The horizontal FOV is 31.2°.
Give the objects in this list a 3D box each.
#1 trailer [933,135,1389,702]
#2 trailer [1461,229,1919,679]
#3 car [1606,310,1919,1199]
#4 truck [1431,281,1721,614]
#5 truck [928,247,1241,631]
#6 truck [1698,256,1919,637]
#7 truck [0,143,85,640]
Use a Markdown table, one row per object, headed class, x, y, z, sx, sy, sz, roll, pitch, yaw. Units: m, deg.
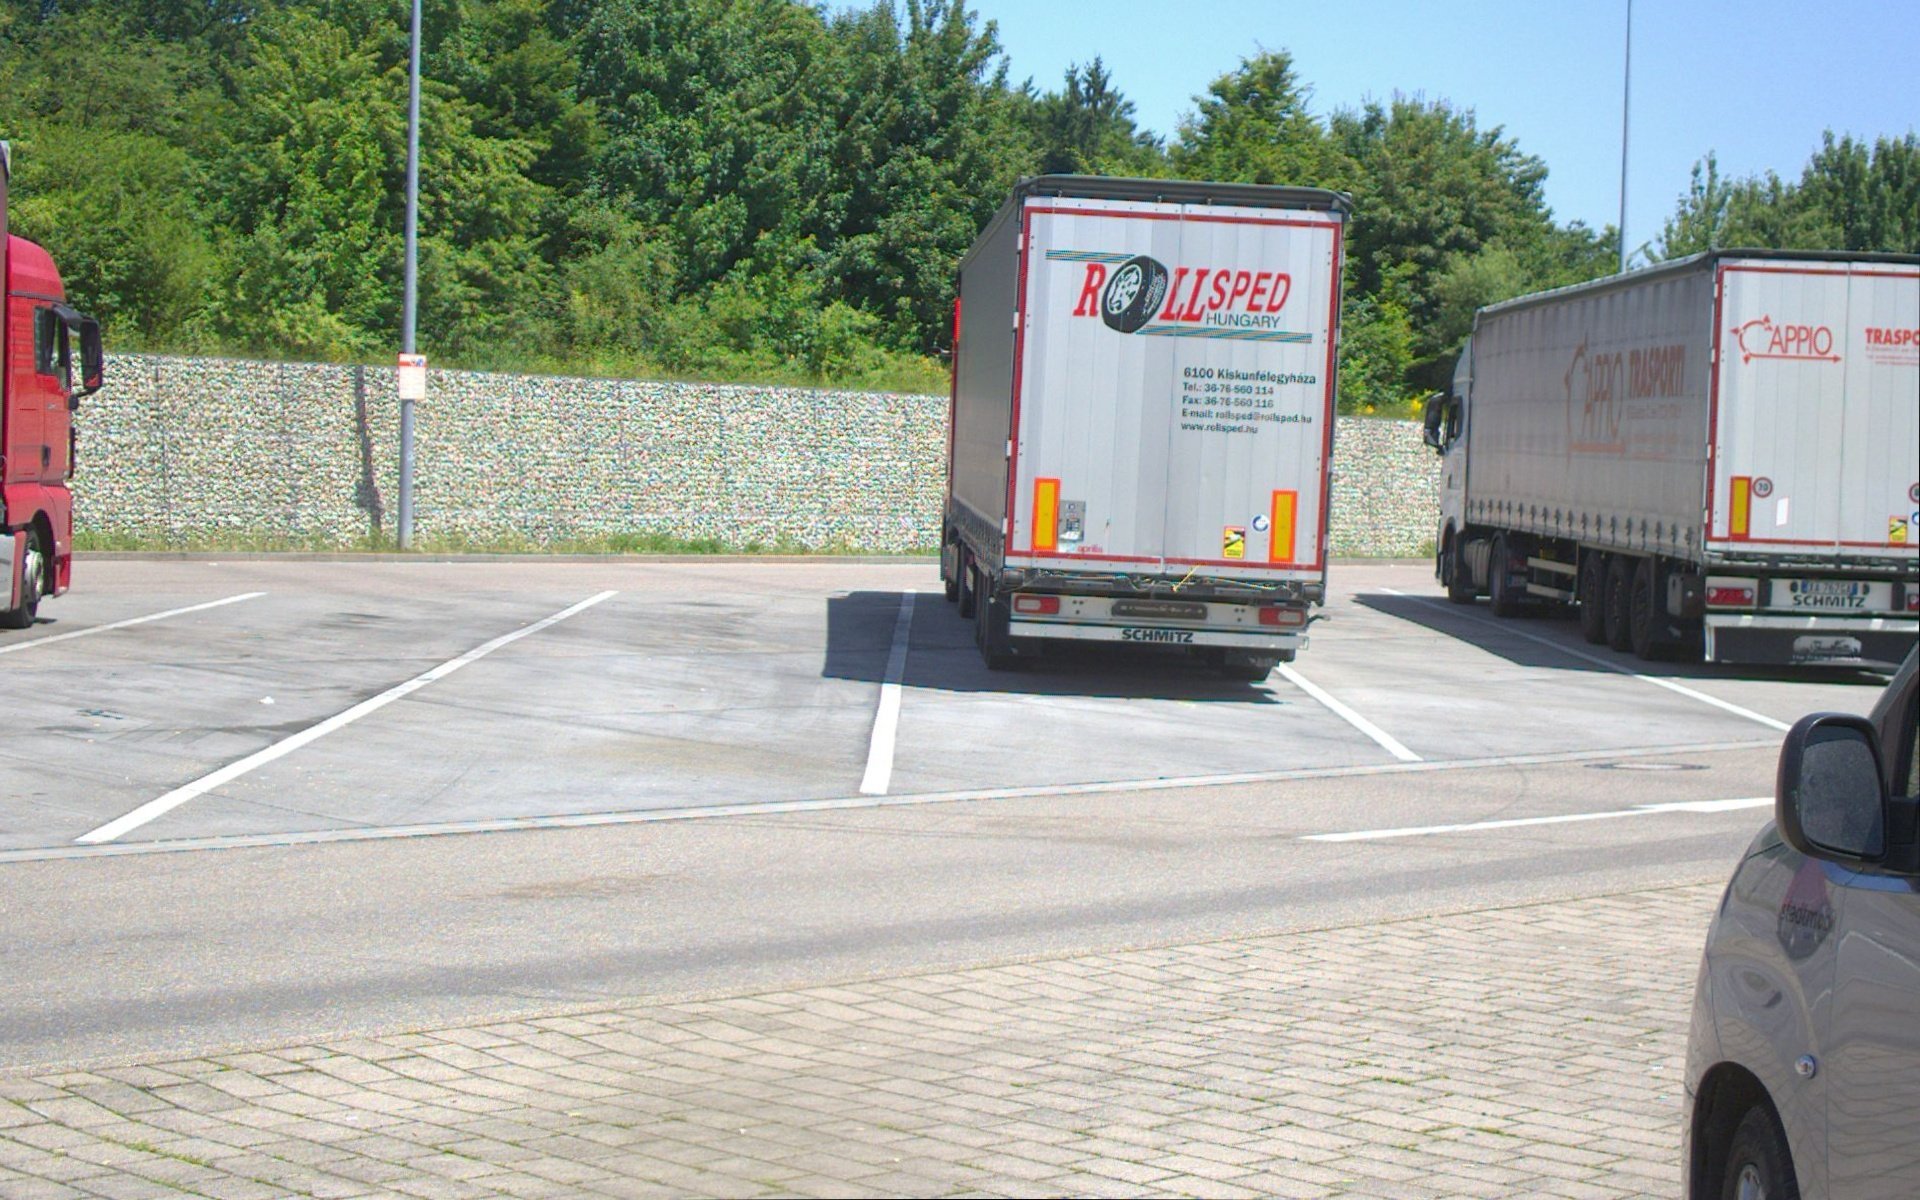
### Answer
| class | x | y | z | sx | sy | sz | roll | pitch | yaw |
| --- | --- | --- | --- | --- | --- | --- | --- | --- | --- |
| trailer | 1.478 | -1.694 | 32.609 | 3.069 | 4.213 | 12.810 | 2 | 3 | -2 |
| trailer | 8.141 | -1.571 | 38.444 | 2.876 | 4.110 | 13.572 | 1 | 2 | -1 |
| car | 2.130 | 0.542 | 3.766 | 1.825 | 1.747 | 4.001 | 1 | 2 | -4 |
| truck | 8.029 | -1.987 | 45.440 | 2.757 | 4.110 | 5.285 | 1 | 2 | -1 |
| truck | 1.264 | -1.853 | 39.377 | 3.026 | 3.915 | 6.847 | 2 | 3 | -2 |
| truck | 11.742 | -1.695 | 39.770 | 2.904 | 4.110 | 14.528 | 3 | 2 | -1 |
| truck | -9.233 | -1.699 | 27.629 | 2.743 | 4.067 | 6.830 | 1 | 2 | -1 |
